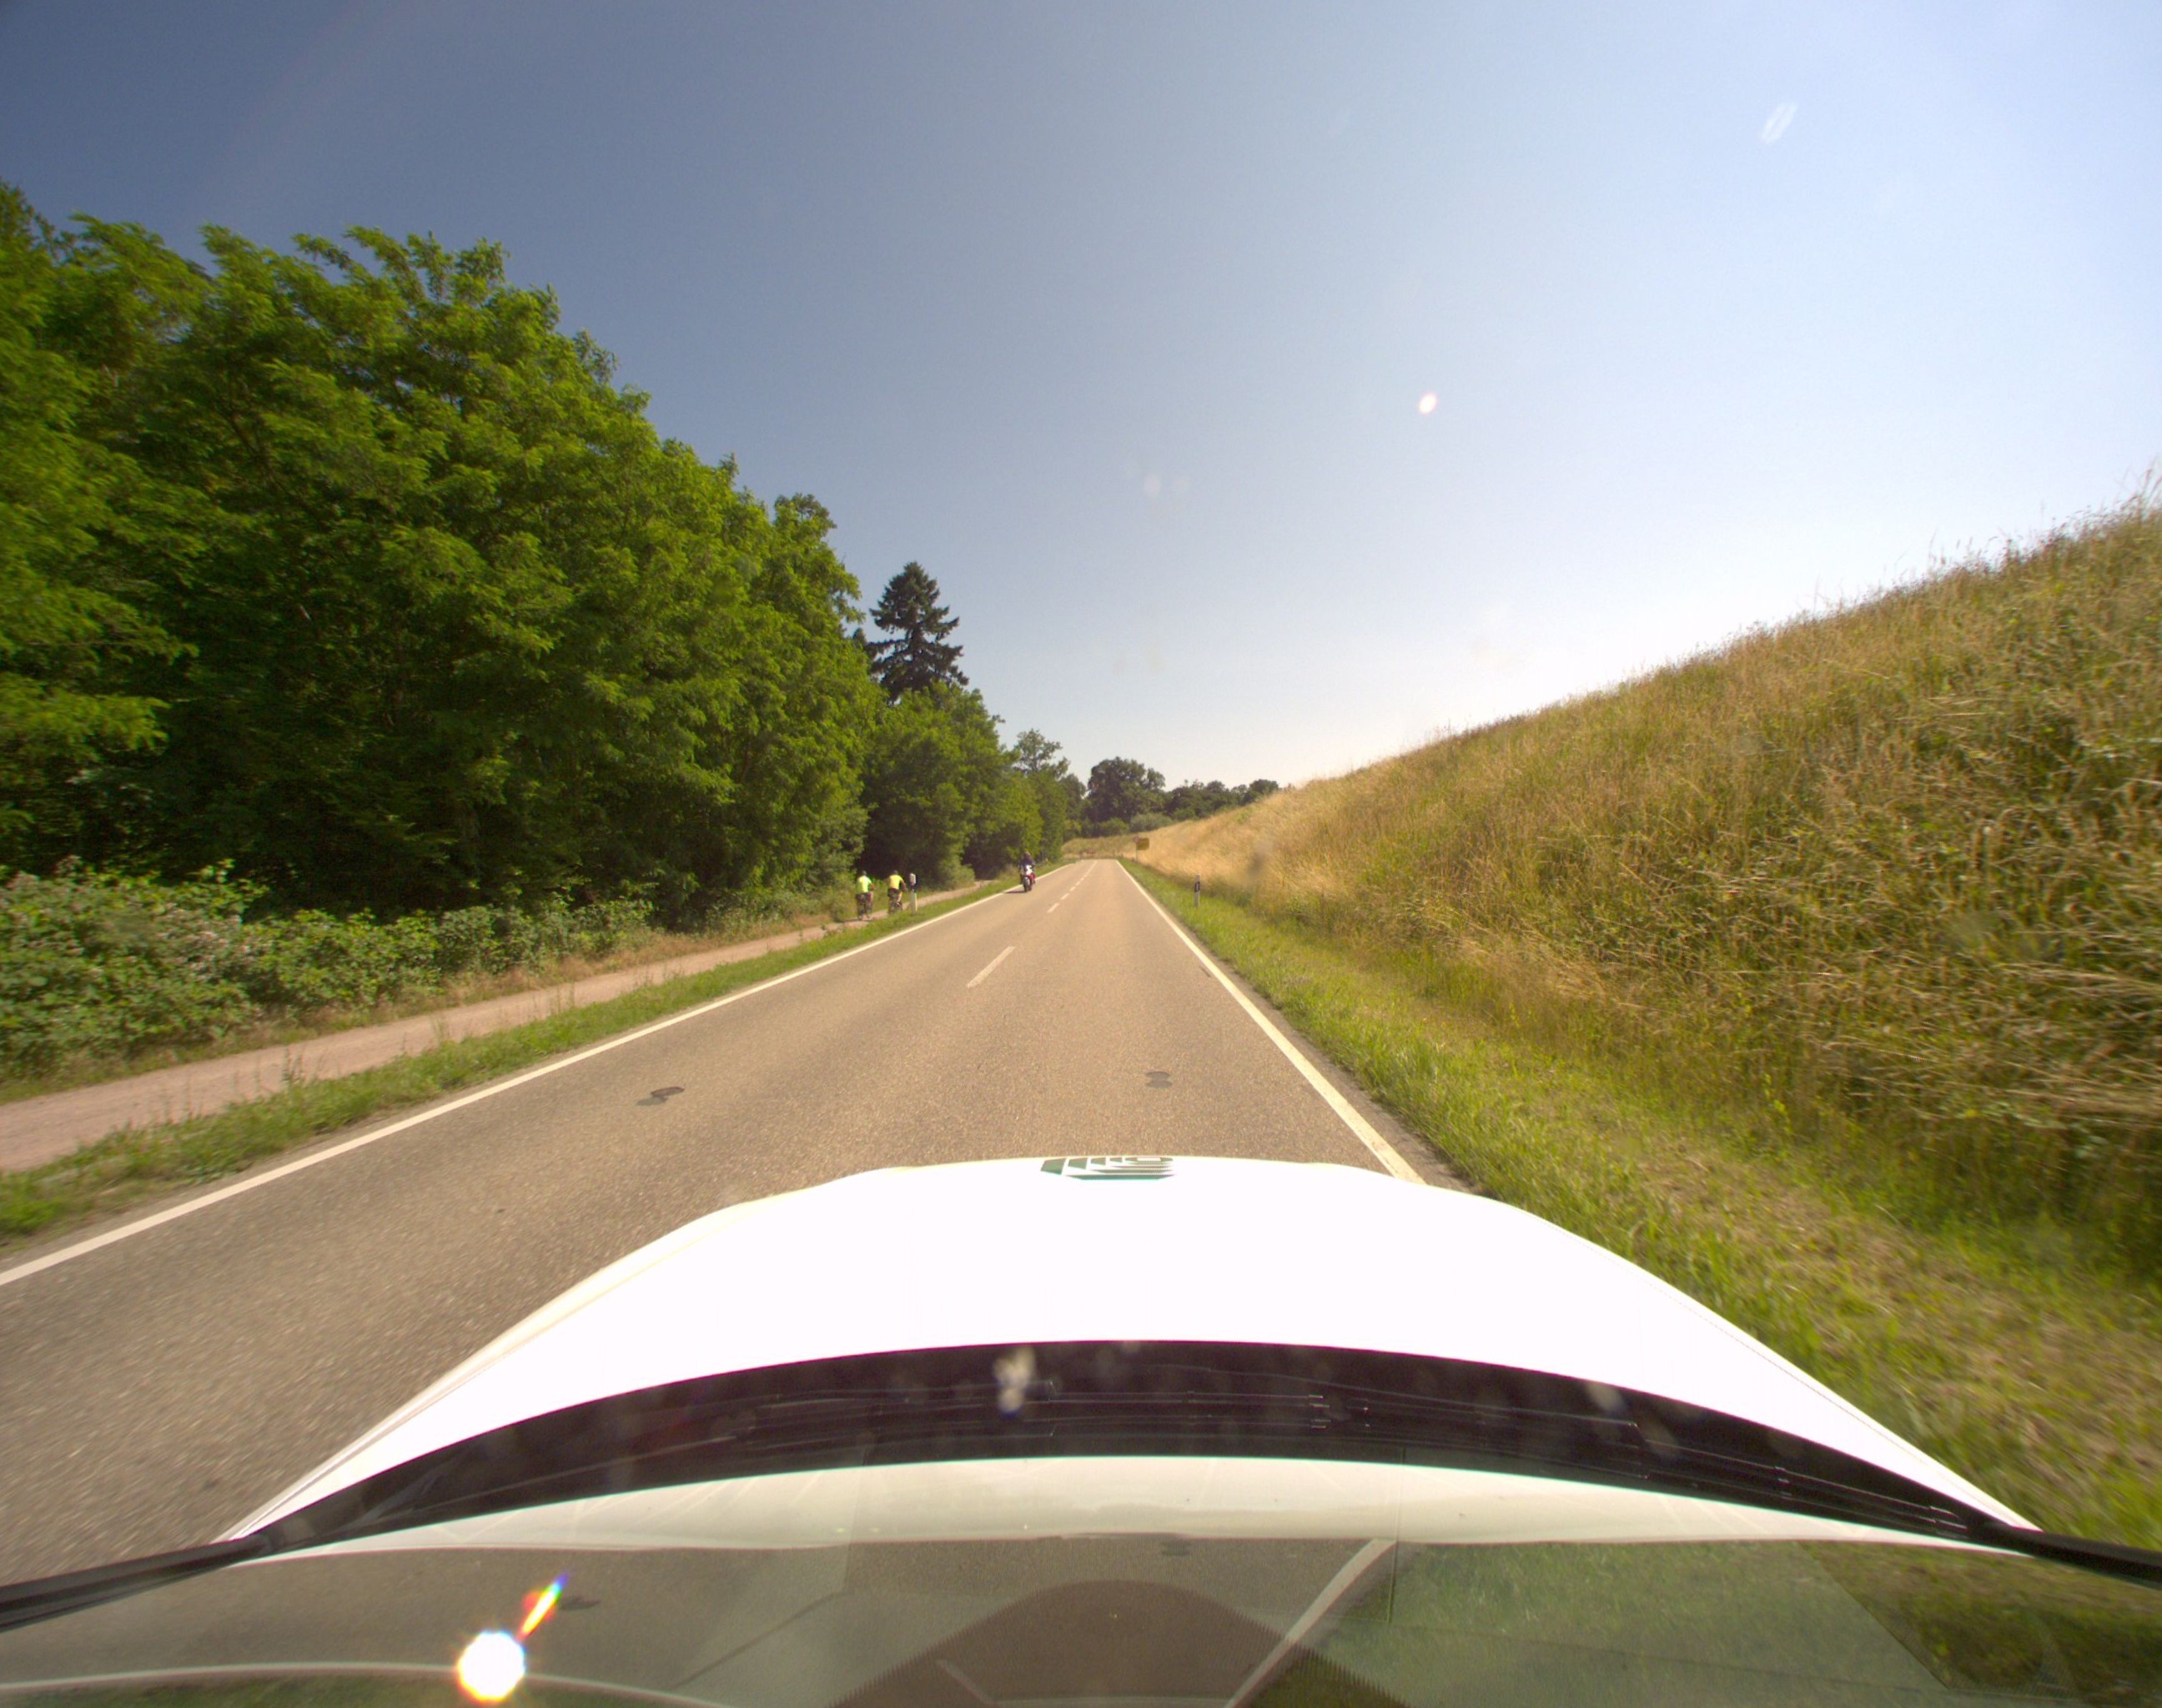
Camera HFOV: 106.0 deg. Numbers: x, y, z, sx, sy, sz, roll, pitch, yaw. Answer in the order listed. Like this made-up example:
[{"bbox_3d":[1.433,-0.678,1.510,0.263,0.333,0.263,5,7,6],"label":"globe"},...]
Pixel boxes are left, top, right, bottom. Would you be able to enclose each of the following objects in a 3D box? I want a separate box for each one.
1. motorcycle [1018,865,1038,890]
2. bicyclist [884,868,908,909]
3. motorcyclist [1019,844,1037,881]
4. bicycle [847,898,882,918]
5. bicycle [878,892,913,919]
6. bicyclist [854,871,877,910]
[{"bbox_3d":[-2.161,0.949,33.303,0.636,0.985,2.006,1,0,1],"label":"motorcycle"},{"bbox_3d":[-6.678,1.247,29.347,0.603,1.415,0.703,-4,0,1],"label":"bicyclist"},{"bbox_3d":[-2.162,0.343,33.293,0.657,1.528,0.814,0,0,0],"label":"motorcyclist"},{"bbox_3d":[-7.812,1.944,29.491,0.617,0.681,2.137,0,-2,2],"label":"bicycle"},{"bbox_3d":[-6.640,1.823,29.246,0.637,0.788,2.137,-4,0,2],"label":"bicycle"},{"bbox_3d":[-7.804,1.324,29.510,0.603,1.416,0.703,0,-2,1],"label":"bicyclist"}]
